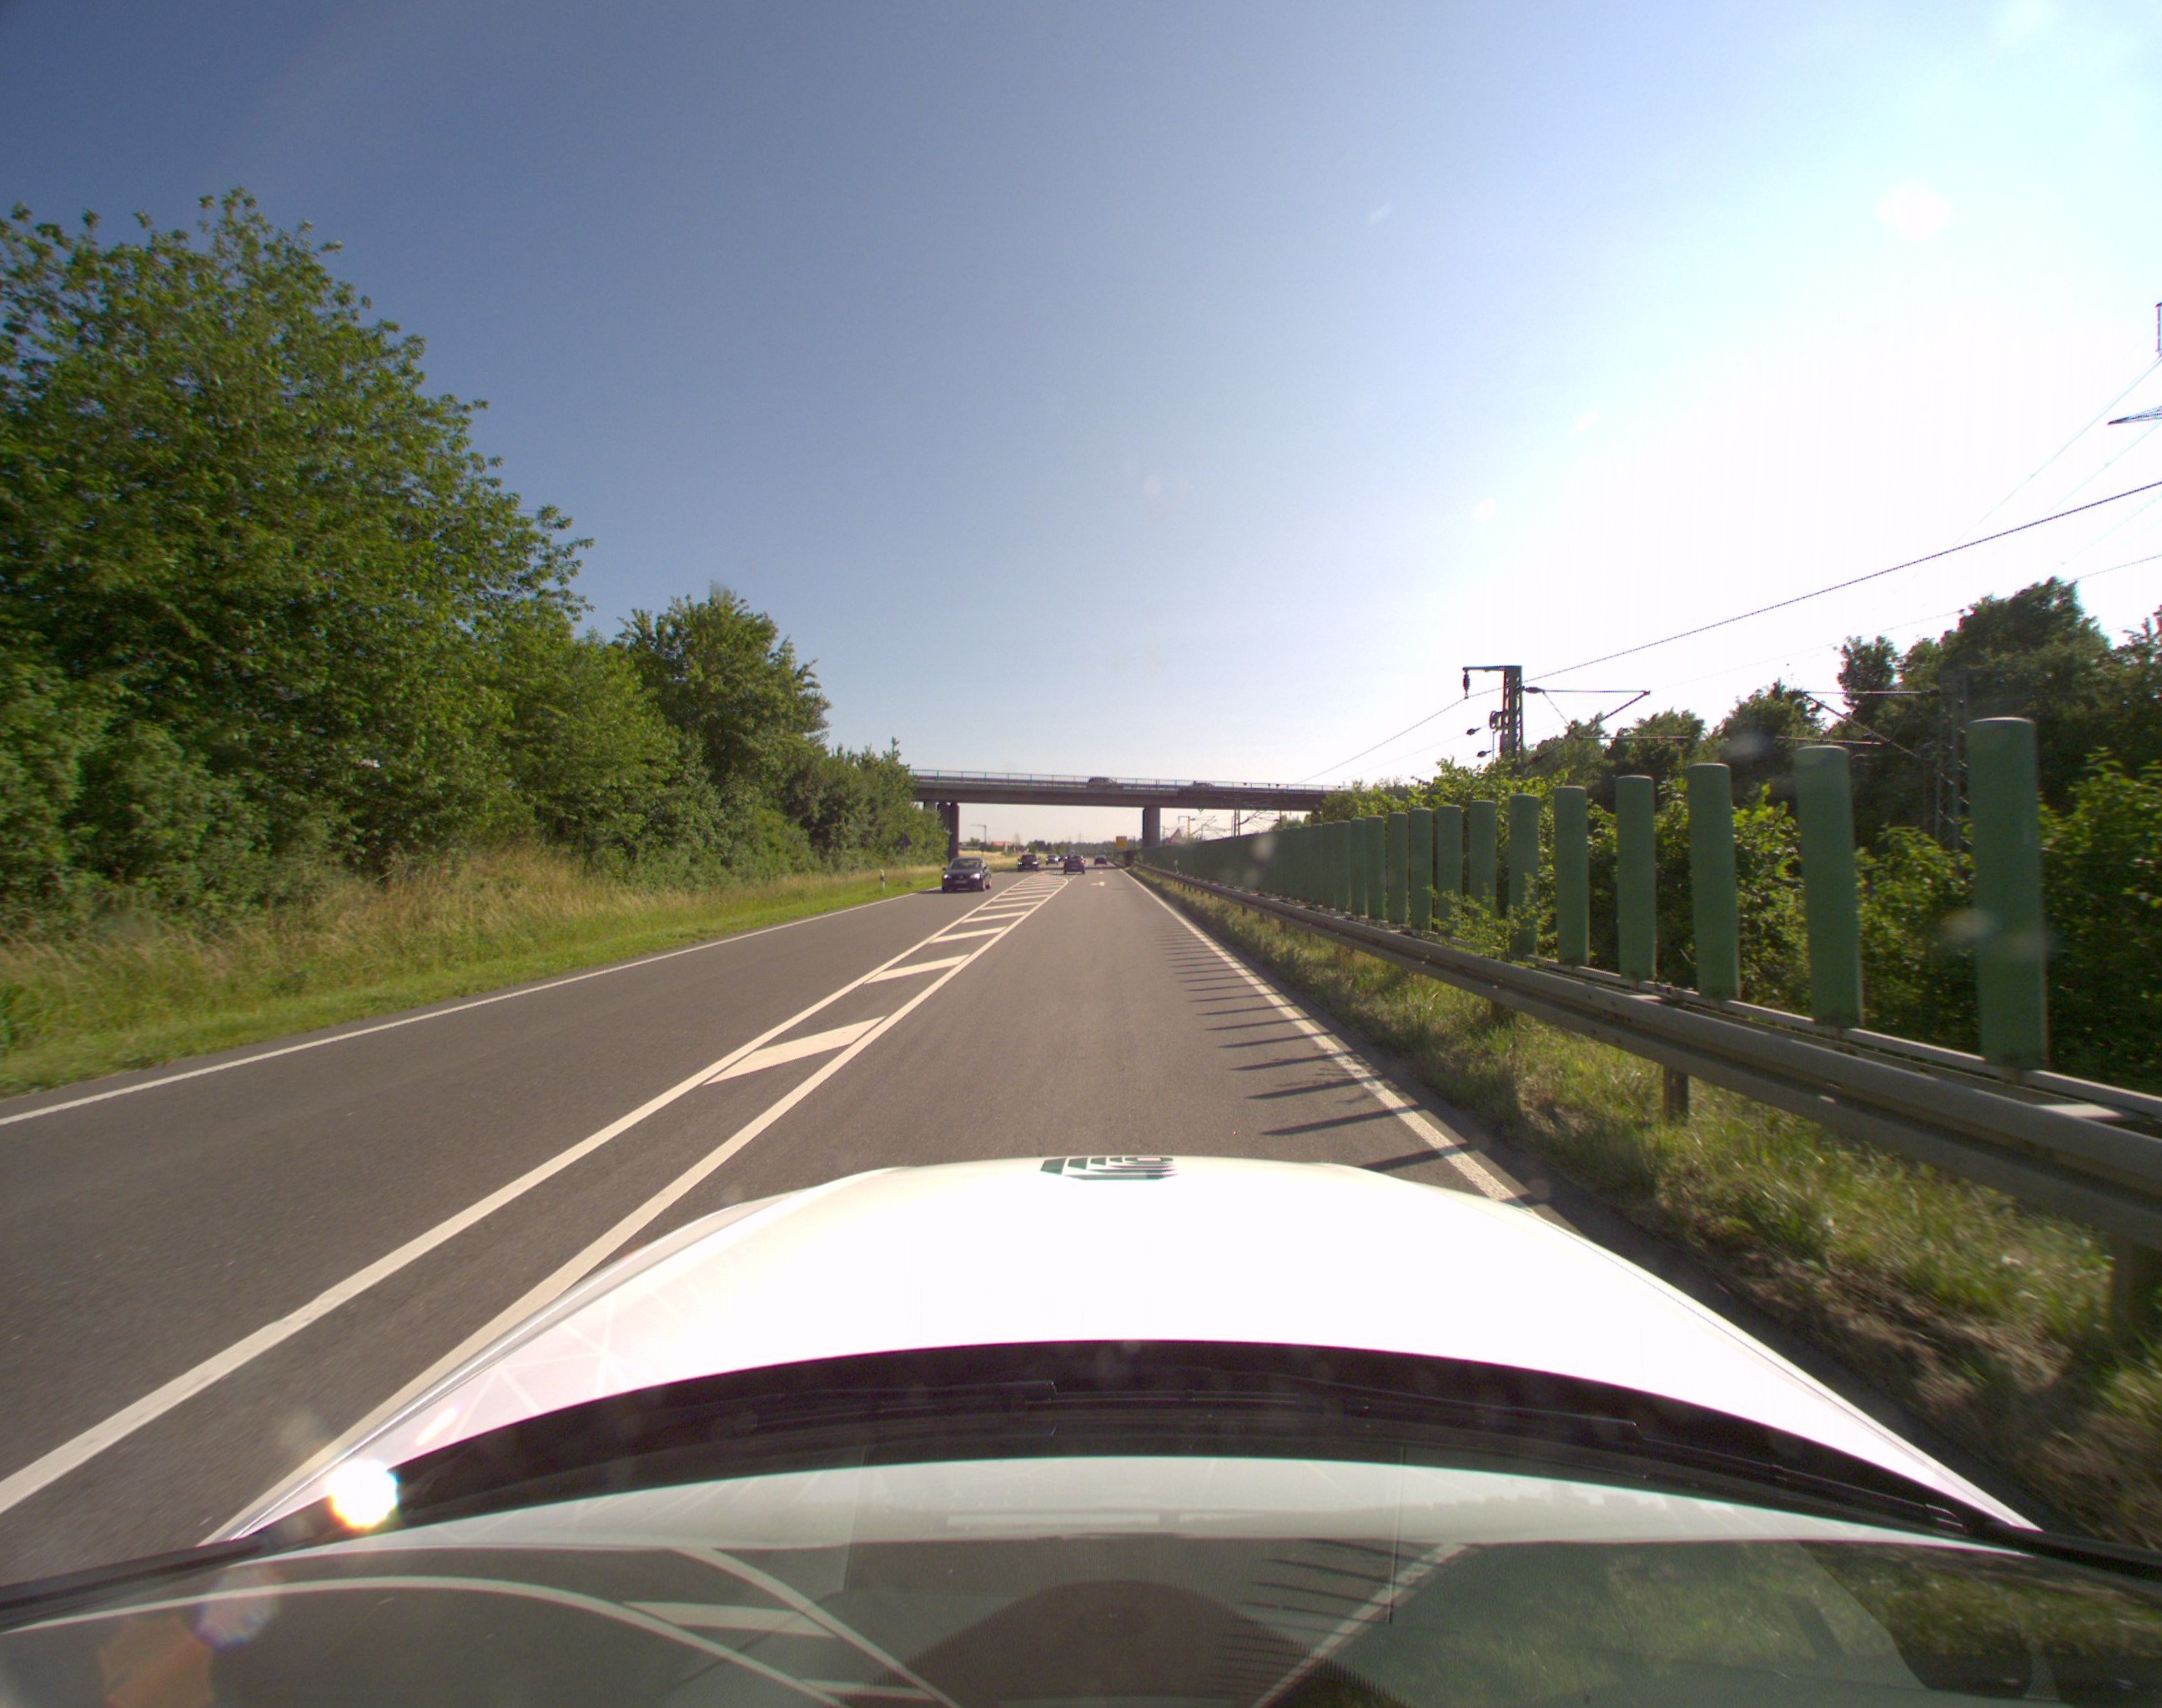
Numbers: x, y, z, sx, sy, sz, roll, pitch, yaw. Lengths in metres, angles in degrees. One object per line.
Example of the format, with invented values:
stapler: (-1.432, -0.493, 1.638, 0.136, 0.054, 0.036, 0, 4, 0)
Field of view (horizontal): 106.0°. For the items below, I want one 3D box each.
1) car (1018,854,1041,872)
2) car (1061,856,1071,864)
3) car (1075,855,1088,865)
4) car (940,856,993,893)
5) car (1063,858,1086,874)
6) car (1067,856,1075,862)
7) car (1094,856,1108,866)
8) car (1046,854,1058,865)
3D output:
car: (-4.754, 0.845, 75.403, 1.917, 1.593, 4.427, 1, 0, -1)
car: (-3.159, 1.166, 167.538, 1.888, 1.630, 4.001, -1, 0, 1)
car: (0.061, 0.948, 126.973, 1.888, 1.418, 4.001, -1, 0, 1)
car: (-4.865, 0.851, 35.090, 1.744, 1.482, 3.998, -1, 0, -1)
car: (-0.460, 0.918, 63.406, 1.657, 1.261, 4.001, -1, 0, 1)
car: (-2.559, 1.375, 215.723, 1.888, 1.630, 4.001, -1, 0, 1)
car: (2.883, 1.052, 116.639, 1.888, 1.418, 4.001, -1, 0, 1)
car: (-4.464, 0.868, 125.966, 1.840, 1.630, 3.999, -1, 0, 0)
